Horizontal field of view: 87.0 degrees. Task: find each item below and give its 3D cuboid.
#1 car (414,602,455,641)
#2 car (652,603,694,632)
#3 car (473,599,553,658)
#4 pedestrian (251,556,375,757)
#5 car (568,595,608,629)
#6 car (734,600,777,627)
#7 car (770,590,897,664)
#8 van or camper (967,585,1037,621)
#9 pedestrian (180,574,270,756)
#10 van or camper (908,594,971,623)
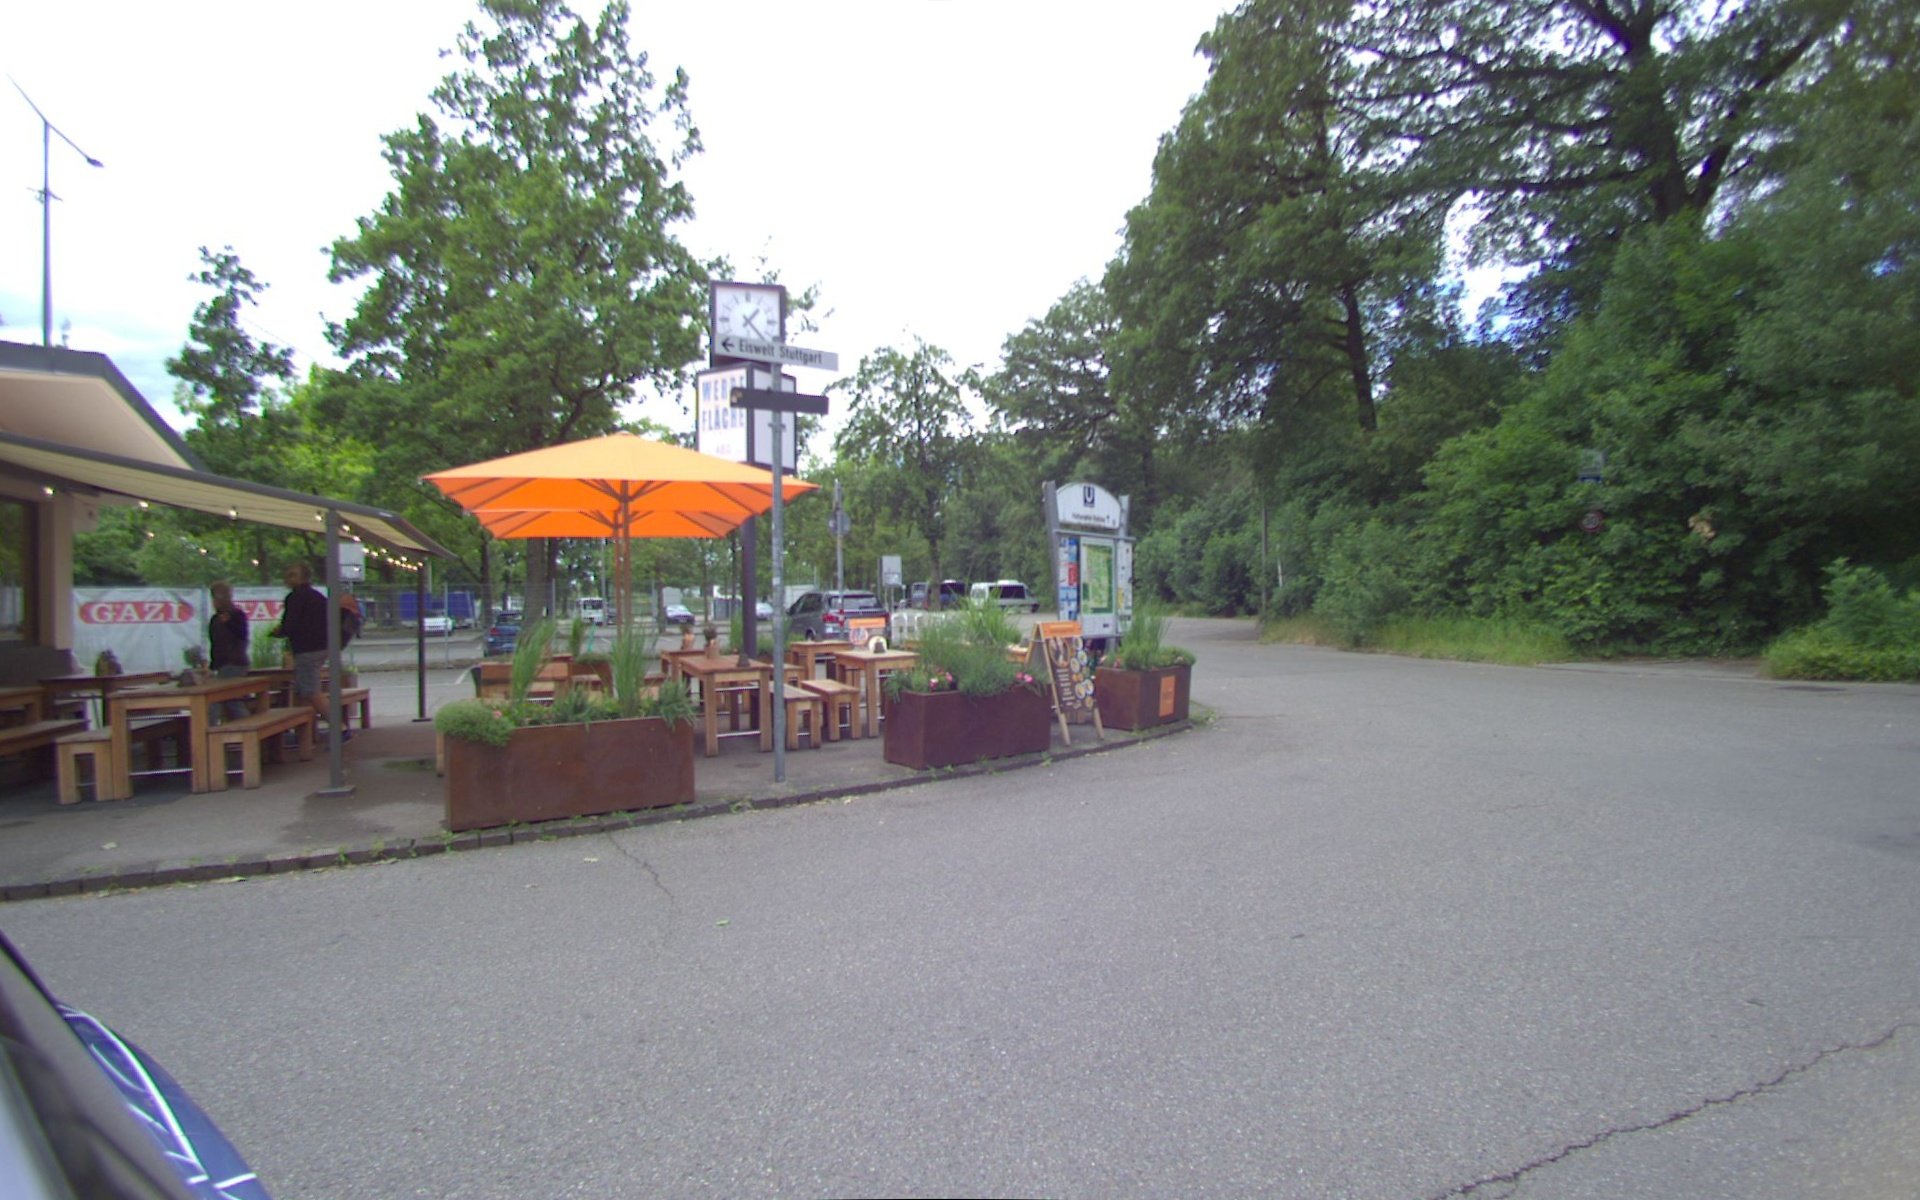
[{"bbox_3d":[-29.393,1.174,56.664,1.965,2.029,4.013,-1,0,-27],"label":"car"},{"bbox_3d":[-19.225,1.163,67.657,1.845,1.793,4.309,-1,0,-27],"label":"car"},{"bbox_3d":[-12.942,0.788,29.377,1.965,1.564,4.013,-1,0,-24],"label":"car"},{"bbox_3d":[-6.209,0.520,9.746,0.738,1.845,0.711,-1,0,-5],"label":"pedestrian"},{"bbox_3d":[-24.126,0.794,65.582,1.845,2.055,4.605,-1,0,-27],"label":"car"},{"bbox_3d":[-14.186,0.933,70.031,1.845,1.793,4.309,-1,0,-27],"label":"car"},{"bbox_3d":[-3.313,0.642,25.702,1.902,1.682,4.359,-1,0,-25],"label":"car"},{"bbox_3d":[3.653,0.210,86.185,2.065,2.871,7.248,-1,0,37],"label":"van or camper"},{"bbox_3d":[-7.056,0.605,9.736,0.522,1.680,0.597,-1,0,-20],"label":"pedestrian"},{"bbox_3d":[-2.154,0.891,109.358,2.205,2.871,7.235,-1,0,44],"label":"van or camper"}]
